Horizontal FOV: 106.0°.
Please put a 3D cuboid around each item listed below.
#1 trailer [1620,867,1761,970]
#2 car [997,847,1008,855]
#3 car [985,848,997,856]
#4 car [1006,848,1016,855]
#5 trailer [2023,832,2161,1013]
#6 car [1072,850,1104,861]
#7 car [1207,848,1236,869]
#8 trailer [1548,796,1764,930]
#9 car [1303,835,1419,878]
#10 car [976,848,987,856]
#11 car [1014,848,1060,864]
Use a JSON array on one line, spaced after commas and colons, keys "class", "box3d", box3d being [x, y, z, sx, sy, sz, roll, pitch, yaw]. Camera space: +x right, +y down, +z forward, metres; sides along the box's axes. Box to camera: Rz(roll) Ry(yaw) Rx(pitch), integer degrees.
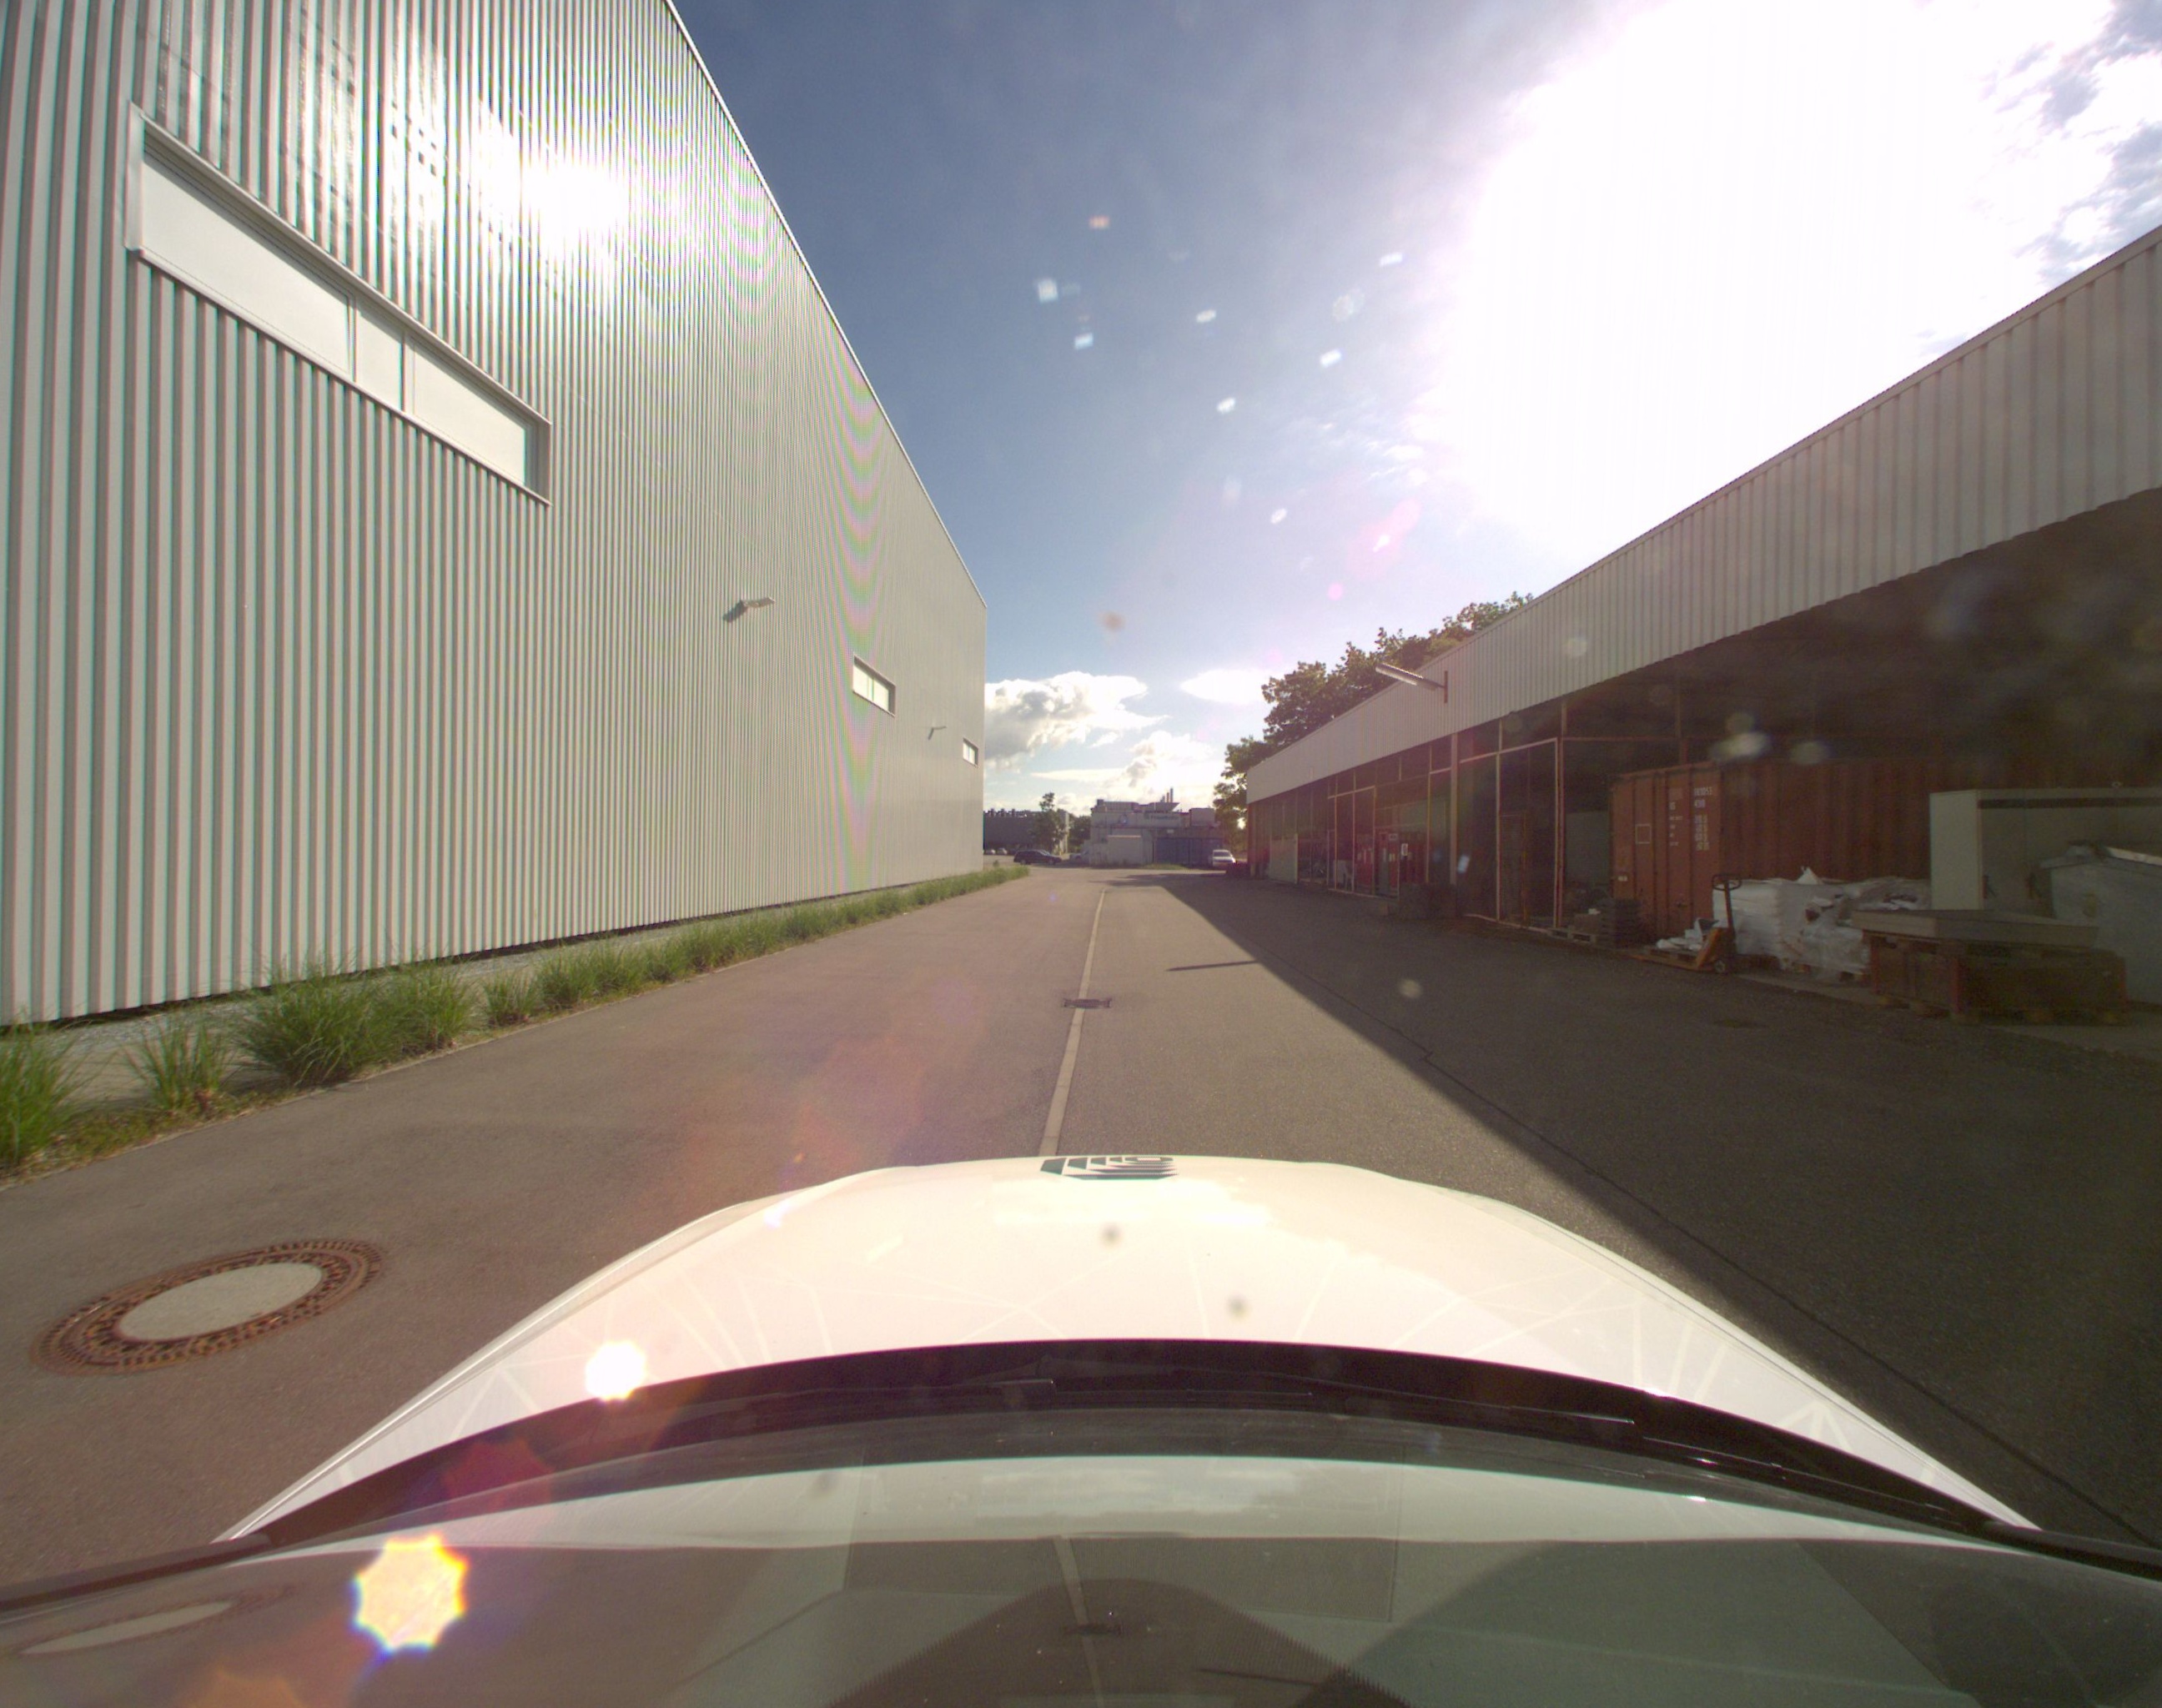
[{"class": "trailer", "box3d": [7.320, 0.728, 9.869, 0.550, 1.118, 1.547, -1, 0, 0]}, {"class": "car", "box3d": [-17.140, -0.579, 178.924, 1.959, 1.712, 4.029, -1, 0, 0]}, {"class": "car", "box3d": [-19.739, -0.511, 178.568, 1.970, 1.678, 4.000, -1, 0, 0]}, {"class": "car", "box3d": [-15.148, -0.516, 177.030, 1.852, 1.494, 4.029, -1, 0, 0]}, {"class": "trailer", "box3d": [9.772, 0.534, 6.687, 2.028, 1.466, 1.741, -1, 0, 6]}, {"class": "car", "box3d": [0.979, 0.208, 109.064, 4.287, 1.457, 1.825, -1, 0, 1]}, {"class": "car", "box3d": [11.763, 0.320, 68.367, 1.971, 1.602, 4.382, -1, 1, 4]}, {"class": "trailer", "box3d": [10.216, 0.142, 14.738, 1.913, 2.143, 2.804, -1, 0, 0]}, {"class": "car", "box3d": [12.961, 0.108, 37.846, 4.763, 1.916, 1.996, 0, 0, -6]}, {"class": "car", "box3d": [-21.840, -0.514, 179.016, 1.792, 1.712, 4.048, -1, 0, 0]}, {"class": "car", "box3d": [-4.346, 0.210, 81.295, 4.431, 1.531, 1.825, -1, 0, 1]}]
